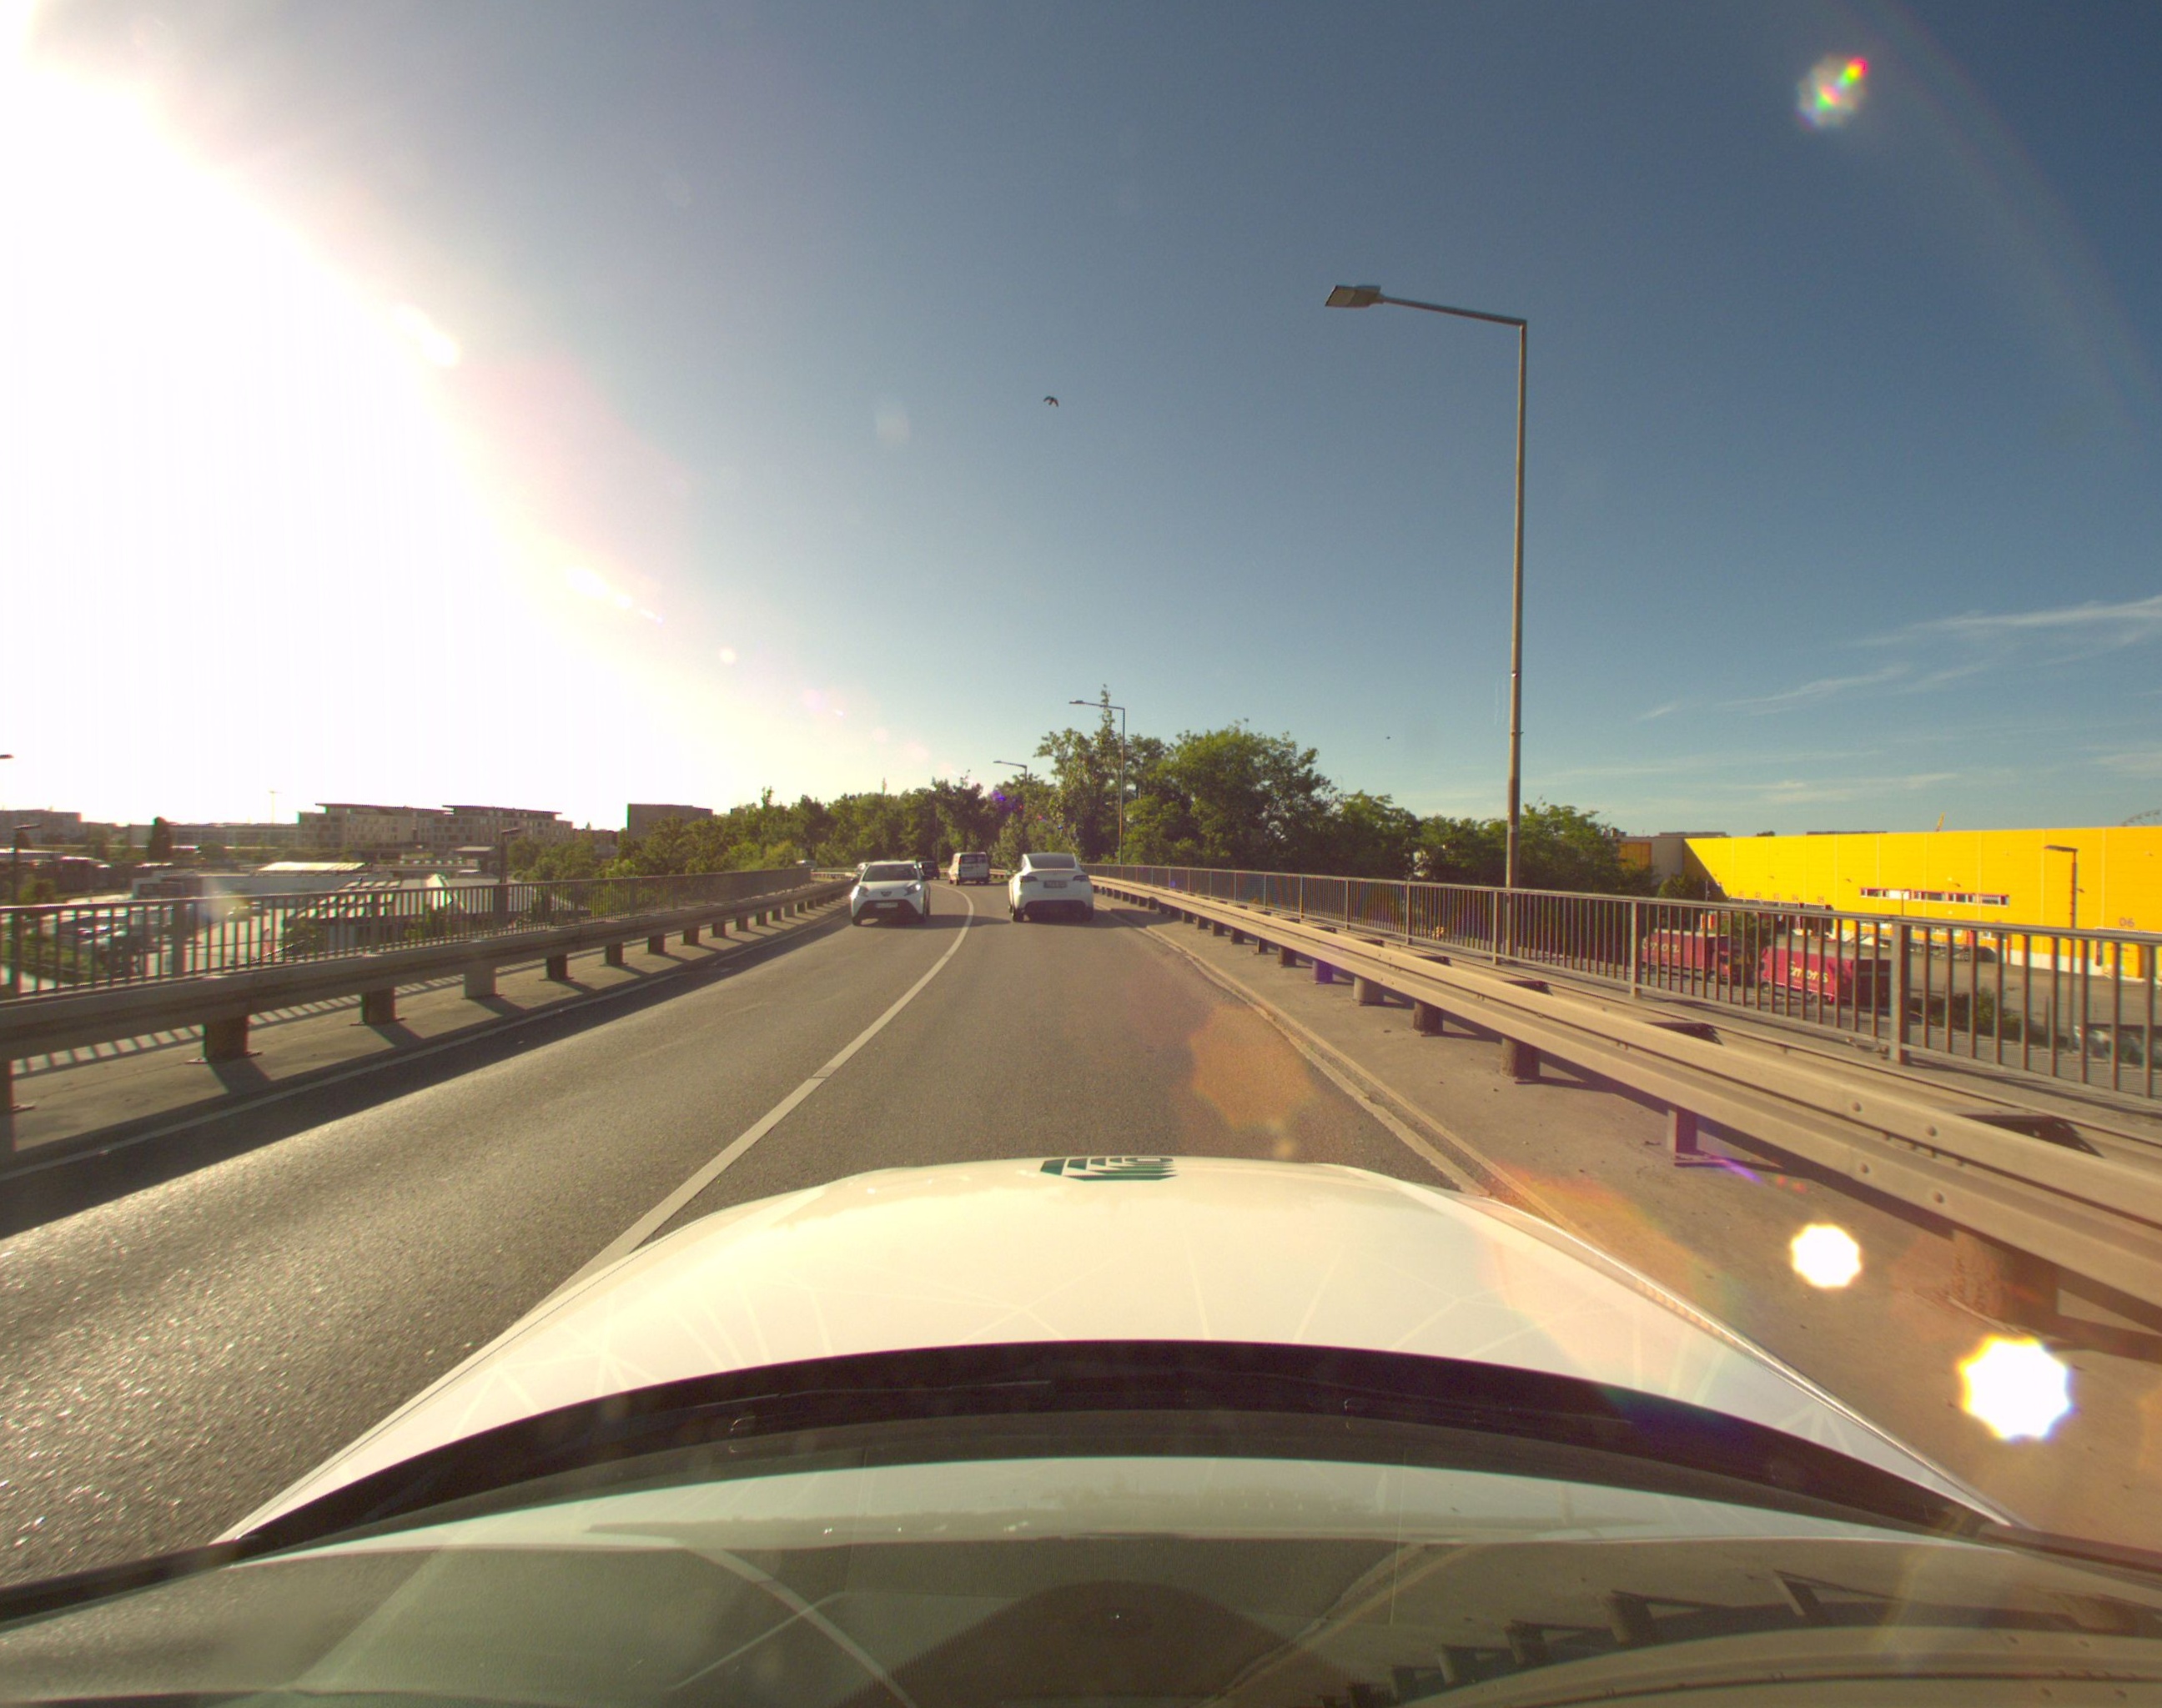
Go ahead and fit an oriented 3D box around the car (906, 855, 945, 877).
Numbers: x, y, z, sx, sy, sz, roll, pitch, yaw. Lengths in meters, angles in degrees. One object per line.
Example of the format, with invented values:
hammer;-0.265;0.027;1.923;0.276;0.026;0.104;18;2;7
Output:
car;-12.151;0.949;63.466;1.979;1.638;3.966;-2;-1;-26

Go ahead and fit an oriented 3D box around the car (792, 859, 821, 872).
car;-33.967;1.439;100.715;3.844;1.555;1.852;-1;0;44

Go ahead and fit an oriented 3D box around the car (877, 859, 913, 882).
car;-13.380;1.137;58.450;1.831;1.552;4.154;-1;0;-22

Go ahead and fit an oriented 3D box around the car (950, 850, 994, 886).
car;-6.463;0.777;47.773;2.009;1.940;4.445;-1;0;-15

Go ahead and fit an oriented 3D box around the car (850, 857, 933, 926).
car;-4.756;0.867;20.626;1.838;1.519;3.754;-1;0;-12

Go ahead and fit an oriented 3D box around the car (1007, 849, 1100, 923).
car;-0.804;0.729;20.414;1.983;1.638;4.053;-1;0;-7

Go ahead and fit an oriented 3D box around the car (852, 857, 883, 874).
car;-21.744;1.171;82.925;1.872;1.585;3.874;-1;0;-33
